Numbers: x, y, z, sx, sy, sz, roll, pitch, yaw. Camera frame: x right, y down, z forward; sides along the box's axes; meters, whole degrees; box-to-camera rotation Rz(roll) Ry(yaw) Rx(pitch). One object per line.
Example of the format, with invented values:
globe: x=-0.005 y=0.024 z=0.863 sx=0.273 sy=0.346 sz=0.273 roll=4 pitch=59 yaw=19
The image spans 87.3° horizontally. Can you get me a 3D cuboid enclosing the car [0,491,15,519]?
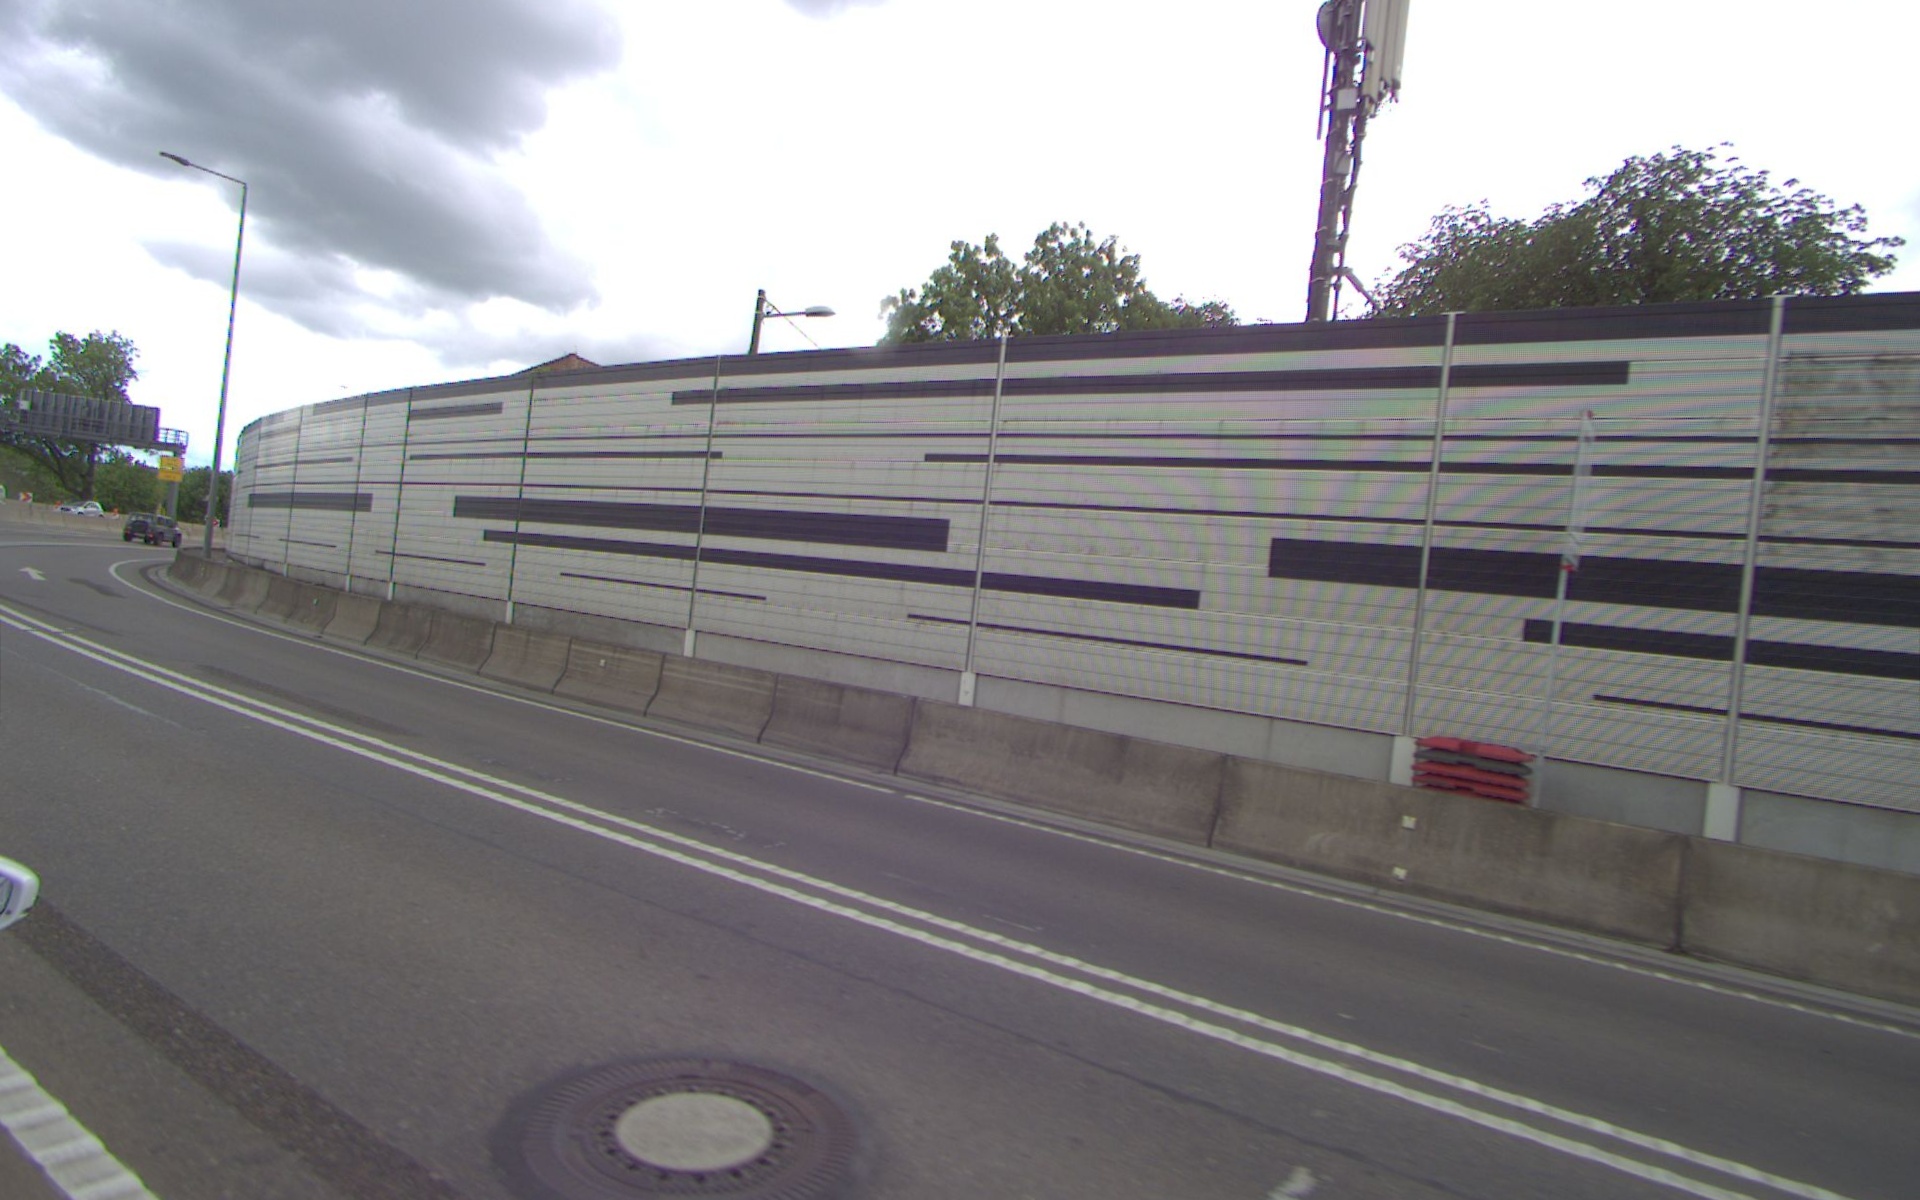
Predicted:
car: x=-61.004 y=-6.139 z=61.991 sx=1.969 sy=1.705 sz=4.250 roll=8 pitch=-2 yaw=-13

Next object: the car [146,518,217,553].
car: x=-50.017 y=-4.120 z=64.701 sx=1.970 sy=1.691 sz=3.990 roll=9 pitch=-2 yaw=-14

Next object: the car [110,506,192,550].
car: x=-45.706 y=-4.034 z=56.937 sx=1.969 sy=1.881 sz=3.991 roll=8 pitch=-2 yaw=-14

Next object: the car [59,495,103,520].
car: x=-65.781 y=-6.906 z=75.328 sx=1.612 sy=1.492 sz=2.923 roll=9 pitch=-2 yaw=-26
